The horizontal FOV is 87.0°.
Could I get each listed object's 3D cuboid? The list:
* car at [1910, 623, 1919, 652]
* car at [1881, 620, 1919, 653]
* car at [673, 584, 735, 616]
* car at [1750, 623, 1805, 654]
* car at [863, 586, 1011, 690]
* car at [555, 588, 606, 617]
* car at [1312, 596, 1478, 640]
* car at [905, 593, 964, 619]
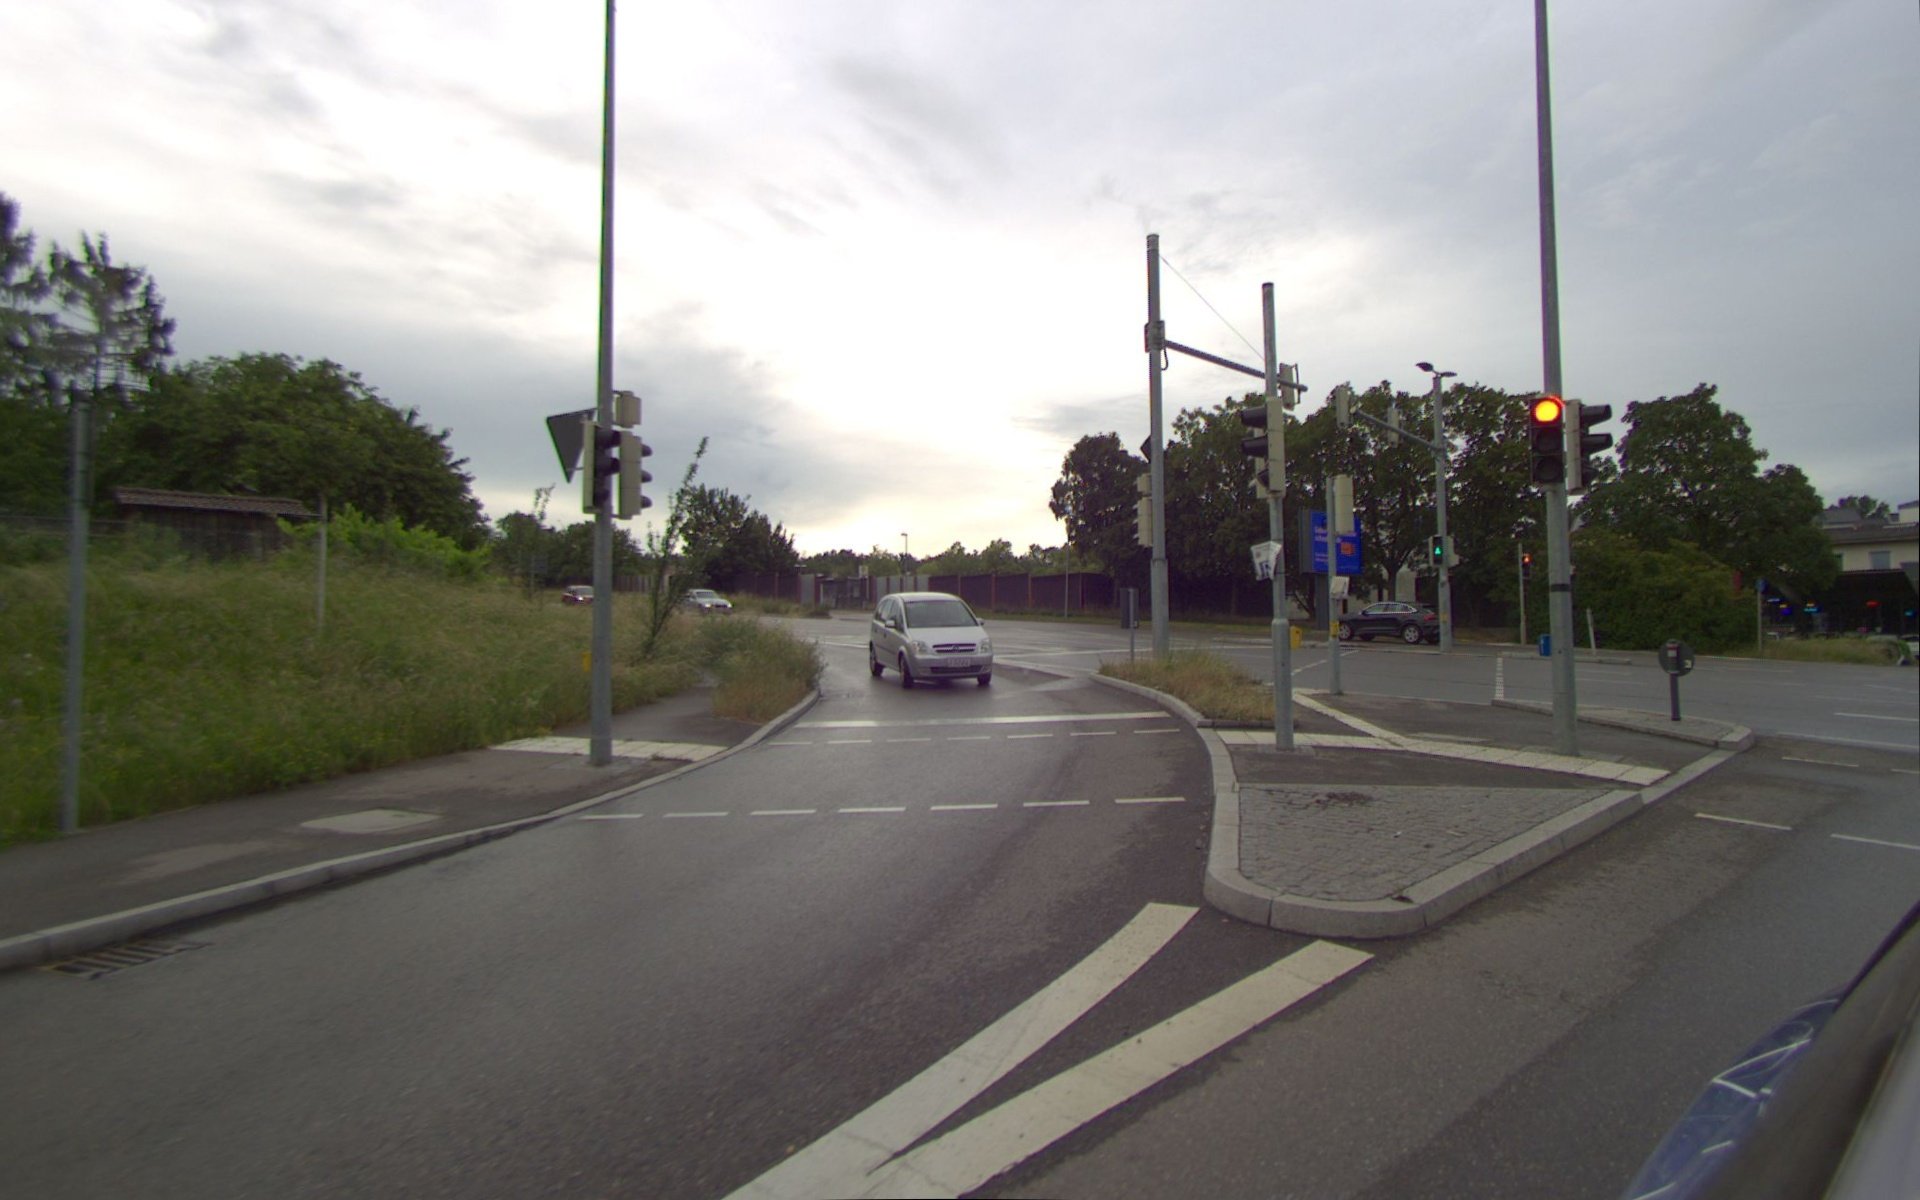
[{"bbox_3d":[58.284,2.251,60.477,3.929,1.672,1.744,1,-1,-40],"label":"car"},{"bbox_3d":[50.839,1.927,54.237,3.929,1.672,1.744,1,-1,-40],"label":"car"},{"bbox_3d":[-14.228,-0.006,56.070,1.790,1.696,3.996,2,-1,-39],"label":"car"},{"bbox_3d":[46.871,2.180,58.004,3.929,1.672,1.744,1,-1,-40],"label":"car"},{"bbox_3d":[-0.561,0.603,19.009,1.785,1.624,4.073,-1,2,-16],"label":"car"},{"bbox_3d":[-23.205,0.131,61.779,1.790,1.696,4.007,2,-1,-38],"label":"car"},{"bbox_3d":[16.087,0.632,37.770,1.806,1.519,5.531,2,-1,-37],"label":"car"},{"bbox_3d":[-1.612,0.339,62.017,1.694,1.519,3.824,2,-1,-37],"label":"car"}]
